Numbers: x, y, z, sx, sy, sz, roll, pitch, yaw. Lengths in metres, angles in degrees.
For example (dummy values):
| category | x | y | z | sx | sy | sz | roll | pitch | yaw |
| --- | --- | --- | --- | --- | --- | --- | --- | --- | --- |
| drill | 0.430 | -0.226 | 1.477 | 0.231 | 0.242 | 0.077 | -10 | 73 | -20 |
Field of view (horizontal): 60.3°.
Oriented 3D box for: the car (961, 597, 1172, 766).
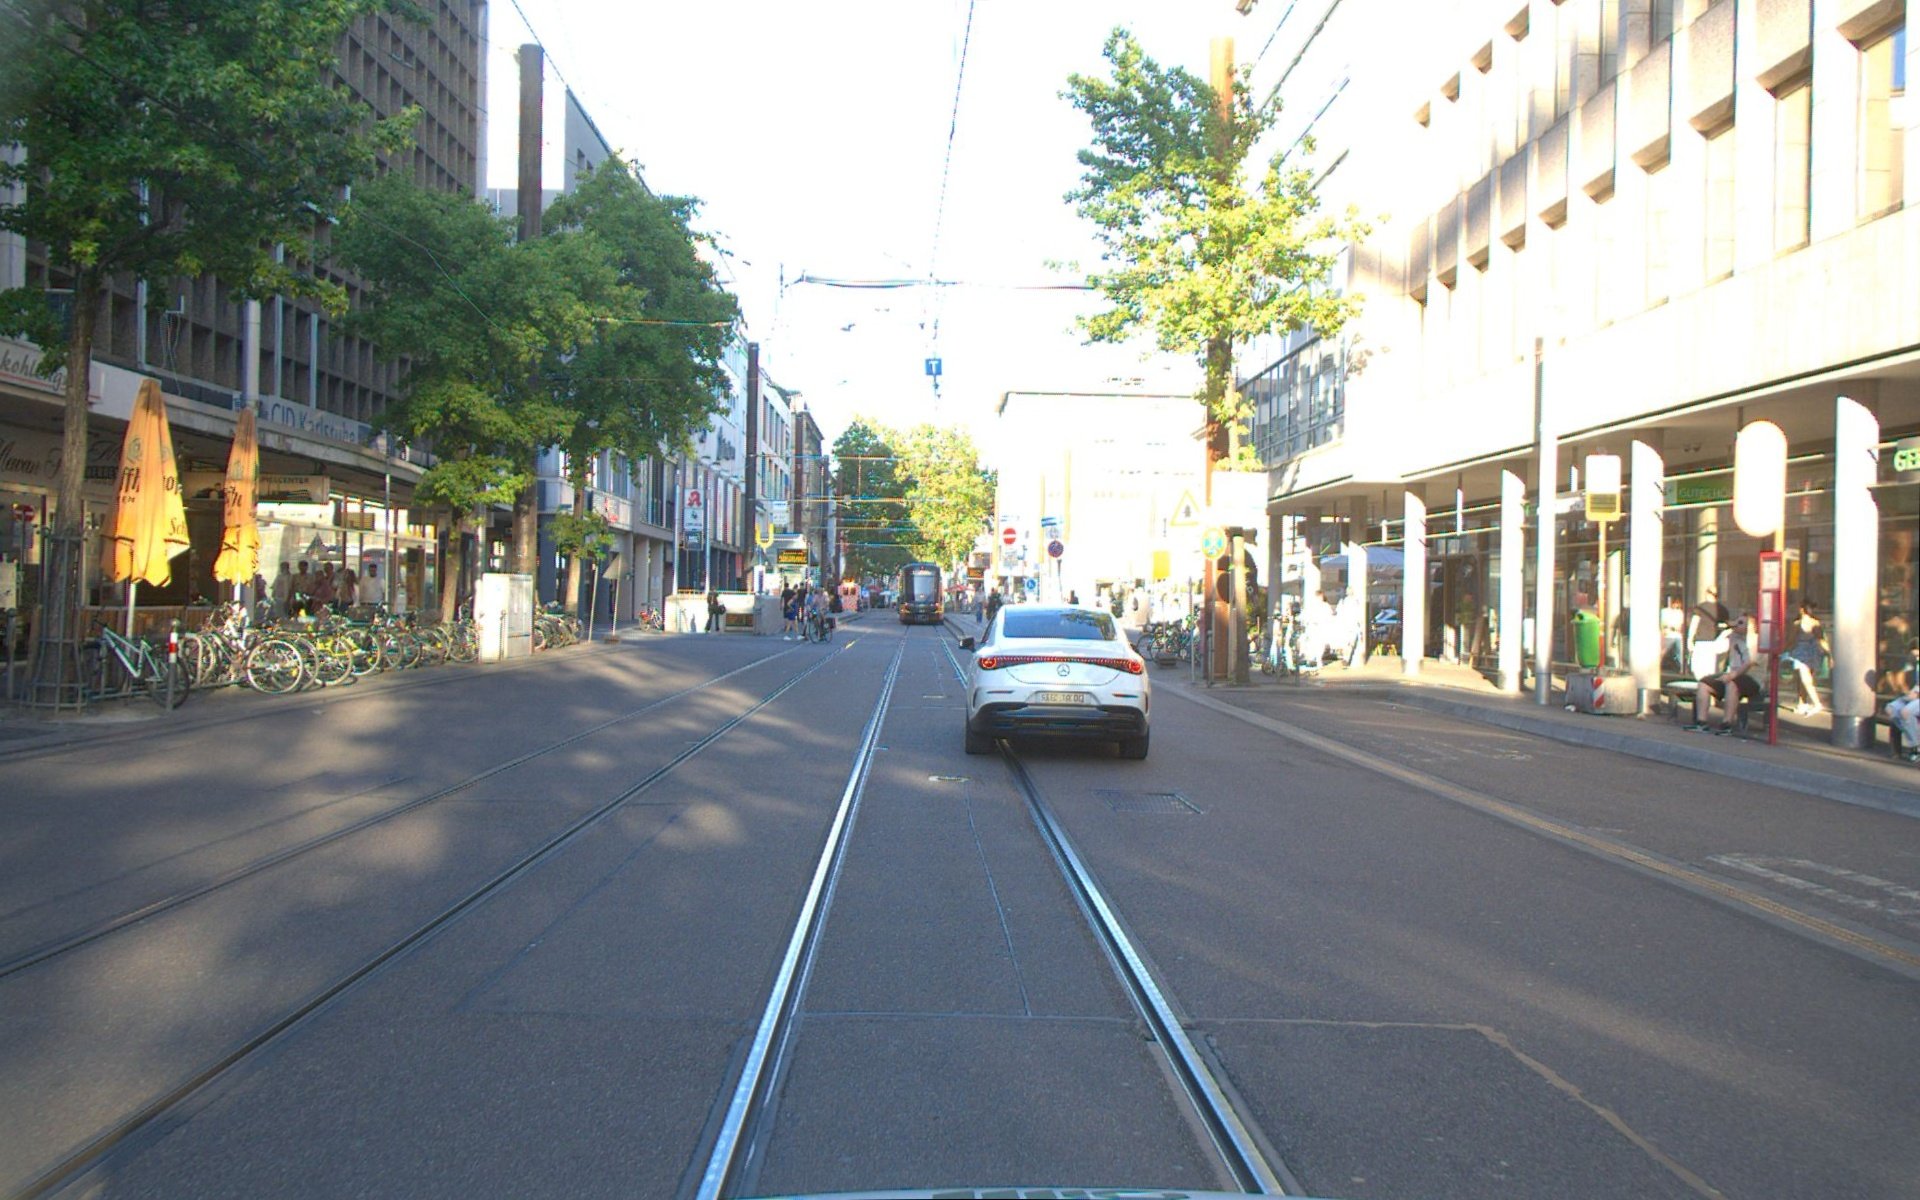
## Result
| category | x | y | z | sx | sy | sz | roll | pitch | yaw |
| --- | --- | --- | --- | --- | --- | --- | --- | --- | --- |
| car | 0.977 | 0.739 | 17.204 | 1.819 | 1.481 | 4.174 | 2 | 0 | -1 |

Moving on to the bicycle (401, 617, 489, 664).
| category | x | y | z | sx | sy | sz | roll | pitch | yaw |
| --- | --- | --- | --- | --- | --- | --- | --- | --- | --- |
| bicycle | -9.367 | 0.730 | 30.086 | 1.462 | 0.797 | 0.344 | 2 | 0 | 0 |

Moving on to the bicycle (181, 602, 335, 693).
| category | x | y | z | sx | sy | sz | roll | pitch | yaw |
| --- | --- | --- | --- | --- | --- | --- | --- | --- | --- |
| bicycle | -9.015 | 0.612 | 21.274 | 1.754 | 1.096 | 0.376 | 2 | 0 | -6 |

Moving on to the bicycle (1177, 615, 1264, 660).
| category | x | y | z | sx | sy | sz | roll | pitch | yaw |
| --- | --- | --- | --- | --- | --- | --- | --- | --- | --- |
| bicycle | 6.509 | 0.938 | 41.281 | 2.078 | 1.115 | 0.607 | 0 | 0 | -15 |

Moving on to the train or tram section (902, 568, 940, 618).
| category | x | y | z | sx | sy | sz | roll | pitch | yaw |
| --- | --- | --- | --- | --- | --- | --- | --- | --- | --- |
| train or tram section | -2.919 | -0.522 | 123.653 | 2.640 | 3.578 | 11.140 | 1 | 0 | -1 |

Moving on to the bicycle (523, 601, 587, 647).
| category | x | y | z | sx | sy | sz | roll | pitch | yaw |
| --- | --- | --- | --- | --- | --- | --- | --- | --- | --- |
| bicycle | -9.829 | 0.587 | 40.174 | 1.466 | 1.047 | 0.343 | 2 | 0 | -12 |

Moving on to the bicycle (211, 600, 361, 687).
| category | x | y | z | sx | sy | sz | roll | pitch | yaw |
| --- | --- | --- | --- | --- | --- | --- | --- | --- | --- |
| bicycle | -9.156 | 0.590 | 22.487 | 1.810 | 1.096 | 0.376 | 2 | 0 | -6 |

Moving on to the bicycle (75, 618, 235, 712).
| category | x | y | z | sx | sy | sz | roll | pitch | yaw |
| --- | --- | --- | --- | --- | --- | --- | --- | --- | --- |
| bicycle | -8.760 | 0.703 | 18.019 | 1.562 | 0.946 | 0.377 | 2 | 0 | 5 |

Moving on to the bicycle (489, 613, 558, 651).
| category | x | y | z | sx | sy | sz | roll | pitch | yaw |
| --- | --- | --- | --- | --- | --- | --- | --- | --- | --- |
| bicycle | -9.939 | 0.720 | 37.681 | 1.462 | 0.797 | 0.344 | 2 | 0 | 0 |

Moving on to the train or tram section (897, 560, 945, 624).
| category | x | y | z | sx | sy | sz | roll | pitch | yaw |
| --- | --- | --- | --- | --- | --- | --- | --- | --- | --- |
| train or tram section | -2.346 | -0.463 | 99.272 | 2.640 | 3.578 | 12.541 | 1 | 0 | -1 |

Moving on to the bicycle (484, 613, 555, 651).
| category | x | y | z | sx | sy | sz | roll | pitch | yaw |
| --- | --- | --- | --- | --- | --- | --- | --- | --- | --- |
| bicycle | -9.935 | 0.720 | 37.322 | 1.462 | 0.797 | 0.344 | 2 | 0 | 0 |

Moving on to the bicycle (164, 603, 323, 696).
| category | x | y | z | sx | sy | sz | roll | pitch | yaw |
| --- | --- | --- | --- | --- | --- | --- | --- | --- | --- |
| bicycle | -8.995 | 0.619 | 20.790 | 1.754 | 1.096 | 0.376 | 2 | 0 | -6 |

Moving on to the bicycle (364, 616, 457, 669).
| category | x | y | z | sx | sy | sz | roll | pitch | yaw |
| --- | --- | --- | --- | --- | --- | --- | --- | --- | --- |
| bicycle | -9.525 | 0.730 | 28.685 | 1.462 | 0.855 | 0.344 | 2 | 0 | 0 |

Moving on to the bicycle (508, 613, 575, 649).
| category | x | y | z | sx | sy | sz | roll | pitch | yaw |
| --- | --- | --- | --- | --- | --- | --- | --- | --- | --- |
| bicycle | -9.803 | 0.723 | 38.777 | 1.462 | 0.797 | 0.344 | 2 | 0 | 0 |

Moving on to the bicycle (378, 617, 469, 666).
| category | x | y | z | sx | sy | sz | roll | pitch | yaw |
| --- | --- | --- | --- | --- | --- | --- | --- | --- | --- |
| bicycle | -9.542 | 0.734 | 29.428 | 1.462 | 0.797 | 0.344 | 2 | 0 | 0 |

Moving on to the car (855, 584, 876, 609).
| category | x | y | z | sx | sy | sz | roll | pitch | yaw |
| --- | --- | --- | --- | --- | --- | --- | --- | --- | --- |
| car | -9.581 | -0.366 | 168.319 | 1.871 | 2.504 | 5.273 | 1 | 0 | -1 |

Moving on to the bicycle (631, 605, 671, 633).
| category | x | y | z | sx | sy | sz | roll | pitch | yaw |
| --- | --- | --- | --- | --- | --- | --- | --- | --- | --- |
| bicycle | -11.453 | 0.690 | 61.325 | 0.703 | 1.027 | 2.041 | 1 | 0 | 12 |

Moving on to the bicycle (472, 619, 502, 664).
| category | x | y | z | sx | sy | sz | roll | pitch | yaw |
| --- | --- | --- | --- | --- | --- | --- | --- | --- | --- |
| bicycle | -8.880 | 0.773 | 31.078 | 0.337 | 0.797 | 1.402 | 2 | 0 | -9 |

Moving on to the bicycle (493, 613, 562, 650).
| category | x | y | z | sx | sy | sz | roll | pitch | yaw |
| --- | --- | --- | --- | --- | --- | --- | --- | --- | --- |
| bicycle | -9.938 | 0.720 | 38.041 | 1.462 | 0.797 | 0.344 | 2 | 0 | 0 |

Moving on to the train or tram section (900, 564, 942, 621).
| category | x | y | z | sx | sy | sz | roll | pitch | yaw |
| --- | --- | --- | --- | --- | --- | --- | --- | --- | --- |
| train or tram section | -2.638 | -0.495 | 111.818 | 2.640 | 3.578 | 12.541 | 1 | 0 | -1 |

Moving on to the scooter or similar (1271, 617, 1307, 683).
| category | x | y | z | sx | sy | sz | roll | pitch | yaw |
| --- | --- | --- | --- | --- | --- | --- | --- | --- | --- |
| scooter or similar | 6.643 | 1.000 | 33.428 | 0.483 | 1.299 | 0.658 | -1 | 0 | -13 |

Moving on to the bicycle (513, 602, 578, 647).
| category | x | y | z | sx | sy | sz | roll | pitch | yaw |
| --- | --- | --- | --- | --- | --- | --- | --- | --- | --- |
| bicycle | -9.949 | 0.588 | 39.732 | 1.466 | 1.027 | 0.343 | 2 | 0 | -12 |

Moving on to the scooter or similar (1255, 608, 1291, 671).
| category | x | y | z | sx | sy | sz | roll | pitch | yaw |
| --- | --- | --- | --- | --- | --- | --- | --- | --- | --- |
| scooter or similar | 6.566 | 0.825 | 34.685 | 0.518 | 1.299 | 0.658 | -1 | 0 | -13 |

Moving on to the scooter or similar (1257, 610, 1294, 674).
| category | x | y | z | sx | sy | sz | roll | pitch | yaw |
| --- | --- | --- | --- | --- | --- | --- | --- | --- | --- |
| scooter or similar | 6.490 | 0.856 | 34.059 | 0.518 | 1.299 | 0.658 | -1 | 0 | -13 |

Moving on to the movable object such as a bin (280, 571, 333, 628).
| category | x | y | z | sx | sy | sz | roll | pitch | yaw |
| --- | --- | --- | --- | --- | --- | --- | --- | --- | --- |
| movable object such as a bin | -12.459 | -0.010 | 31.537 | 0.700 | 1.057 | 0.980 | 1 | 0 | -7 |

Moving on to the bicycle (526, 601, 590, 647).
| category | x | y | z | sx | sy | sz | roll | pitch | yaw |
| --- | --- | --- | --- | --- | --- | --- | --- | --- | --- |
| bicycle | -9.848 | 0.587 | 40.548 | 1.466 | 1.047 | 0.343 | 2 | 0 | -12 |

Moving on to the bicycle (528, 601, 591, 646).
| category | x | y | z | sx | sy | sz | roll | pitch | yaw |
| --- | --- | --- | --- | --- | --- | --- | --- | --- | --- |
| bicycle | -9.903 | 0.589 | 40.919 | 1.466 | 1.047 | 0.343 | 2 | 0 | -12 |

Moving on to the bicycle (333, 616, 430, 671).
| category | x | y | z | sx | sy | sz | roll | pitch | yaw |
| --- | --- | --- | --- | --- | --- | --- | --- | --- | --- |
| bicycle | -9.680 | 0.720 | 27.694 | 1.462 | 0.855 | 0.344 | 2 | 0 | 0 |

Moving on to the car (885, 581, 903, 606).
| category | x | y | z | sx | sy | sz | roll | pitch | yaw |
| --- | --- | --- | --- | --- | --- | --- | --- | --- | --- |
| car | -7.987 | -0.803 | 200.417 | 2.056 | 2.948 | 5.273 | 1 | 0 | -1 |

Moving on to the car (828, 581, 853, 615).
| category | x | y | z | sx | sy | sz | roll | pitch | yaw |
| --- | --- | --- | --- | --- | --- | --- | --- | --- | --- |
| car | -10.775 | -0.193 | 149.497 | 1.953 | 2.948 | 5.273 | 1 | 0 | -1 |

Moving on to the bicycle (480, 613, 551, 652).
| category | x | y | z | sx | sy | sz | roll | pitch | yaw |
| --- | --- | --- | --- | --- | --- | --- | --- | --- | --- |
| bicycle | -9.930 | 0.721 | 36.967 | 1.462 | 0.797 | 0.344 | 2 | 0 | 0 |

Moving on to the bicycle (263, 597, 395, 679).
| category | x | y | z | sx | sy | sz | roll | pitch | yaw |
| --- | --- | --- | --- | --- | --- | --- | --- | --- | --- |
| bicycle | -9.532 | 0.569 | 25.001 | 1.809 | 1.160 | 0.377 | 2 | 0 | 0 |

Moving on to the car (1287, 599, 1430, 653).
| category | x | y | z | sx | sy | sz | roll | pitch | yaw |
| --- | --- | --- | --- | --- | --- | --- | --- | --- | --- |
| car | 11.602 | 0.759 | 48.285 | 3.729 | 1.499 | 1.647 | 1 | 0 | -7 |

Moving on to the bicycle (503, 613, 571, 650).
| category | x | y | z | sx | sy | sz | roll | pitch | yaw |
| --- | --- | --- | --- | --- | --- | --- | --- | --- | --- |
| bicycle | -9.827 | 0.729 | 38.407 | 1.462 | 0.797 | 0.344 | 2 | 0 | 0 |

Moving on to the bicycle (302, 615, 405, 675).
| category | x | y | z | sx | sy | sz | roll | pitch | yaw |
| --- | --- | --- | --- | --- | --- | --- | --- | --- | --- |
| bicycle | -9.652 | 0.712 | 26.331 | 1.464 | 0.892 | 0.344 | 2 | 0 | -8 |

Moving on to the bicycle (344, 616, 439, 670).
| category | x | y | z | sx | sy | sz | roll | pitch | yaw |
| --- | --- | --- | --- | --- | --- | --- | --- | --- | --- |
| bicycle | -9.644 | 0.723 | 28.077 | 1.462 | 0.855 | 0.344 | 2 | 0 | 0 |

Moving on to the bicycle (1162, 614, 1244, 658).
| category | x | y | z | sx | sy | sz | roll | pitch | yaw |
| --- | --- | --- | --- | --- | --- | --- | --- | --- | --- |
| bicycle | 6.386 | 0.944 | 43.477 | 2.077 | 1.115 | 0.608 | 0 | 0 | -13 |
